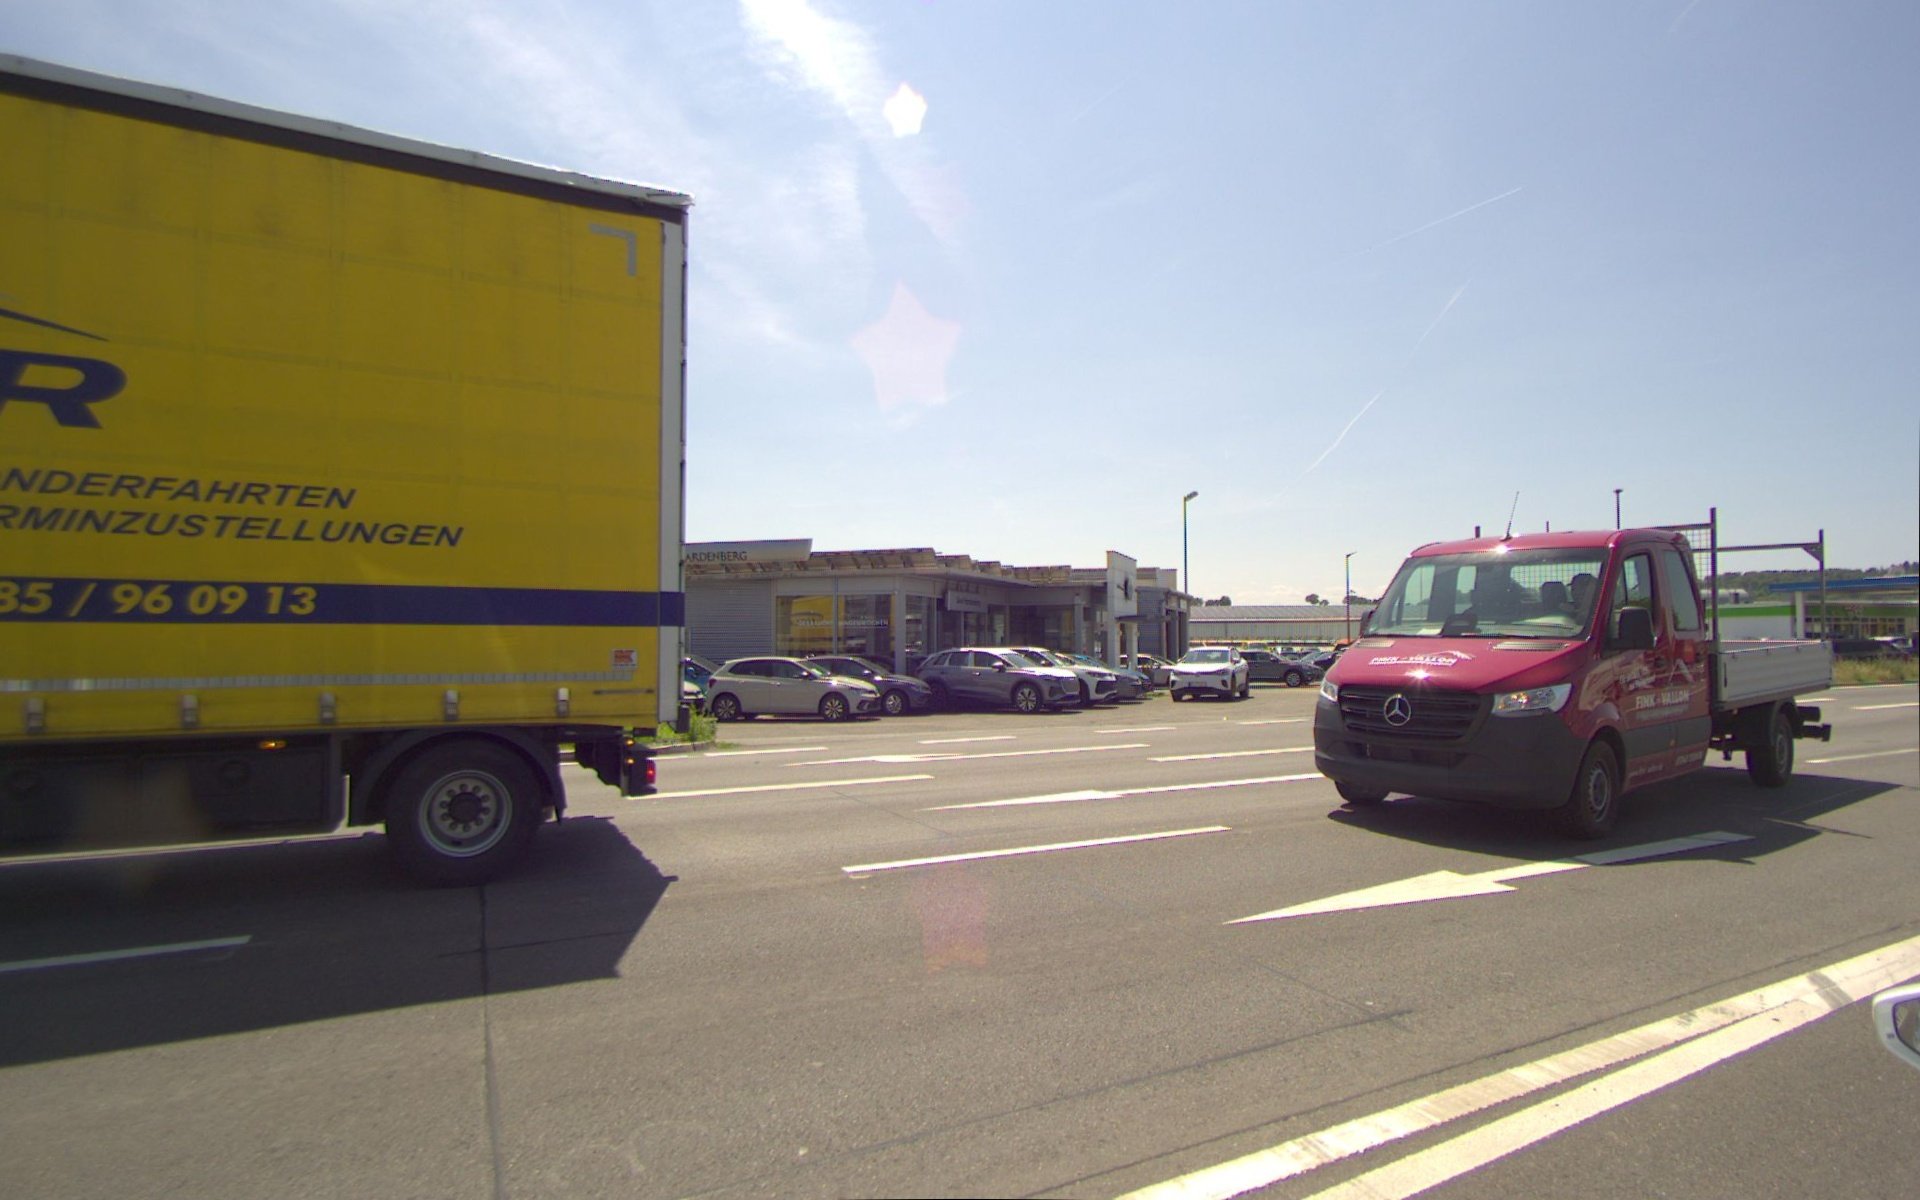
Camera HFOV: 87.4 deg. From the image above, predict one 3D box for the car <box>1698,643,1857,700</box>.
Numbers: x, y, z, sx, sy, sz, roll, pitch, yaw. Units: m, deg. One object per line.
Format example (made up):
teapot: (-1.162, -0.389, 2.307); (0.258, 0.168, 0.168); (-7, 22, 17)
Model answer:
car: (26.808, 2.308, 33.111); (3.800, 1.773, 1.797); (-1, -2, 31)

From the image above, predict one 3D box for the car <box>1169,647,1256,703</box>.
car: (7.941, 2.281, 31.266); (1.789, 1.594, 4.676); (-1, -3, 25)

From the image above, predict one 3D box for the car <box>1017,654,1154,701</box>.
car: (4.078, 2.474, 32.595); (4.091, 1.429, 1.823); (-1, -3, 22)

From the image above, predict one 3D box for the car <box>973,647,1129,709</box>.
car: (2.510, 2.120, 27.846); (3.927, 1.594, 1.821); (-2, -3, 27)

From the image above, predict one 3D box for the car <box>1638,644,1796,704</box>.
car: (23.690, 2.277, 31.639); (3.803, 1.773, 1.796); (-2, -2, 33)

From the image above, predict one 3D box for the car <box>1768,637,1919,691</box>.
car: (29.771, 2.118, 33.751); (3.800, 1.708, 1.797); (-1, -2, 31)

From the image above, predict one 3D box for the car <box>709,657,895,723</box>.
car: (-3.607, 2.055, 23.246); (3.901, 1.434, 1.772); (-1, -3, 9)

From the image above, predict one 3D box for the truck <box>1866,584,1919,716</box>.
truck: (19.977, 0.916, 18.869); (5.599, 2.371, 2.418); (1, -3, -26)

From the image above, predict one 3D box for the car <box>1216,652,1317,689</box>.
car: (12.657, 2.895, 41.593); (3.920, 1.481, 1.901); (-1, -2, 17)

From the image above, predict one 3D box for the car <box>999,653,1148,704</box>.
car: (3.416, 2.323, 30.167); (4.091, 1.429, 1.823); (-1, -3, 22)

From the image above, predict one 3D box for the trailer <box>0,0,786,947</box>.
trailer: (-6.149, -0.606, 5.213); (9.933, 4.343, 2.999); (1, -2, -29)

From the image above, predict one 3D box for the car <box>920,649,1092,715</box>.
car: (1.156, 2.051, 25.868); (4.067, 1.565, 1.820); (-2, -3, 31)

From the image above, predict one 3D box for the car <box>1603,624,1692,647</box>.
car: (41.186, 2.139, 60.234); (1.687, 1.326, 4.128); (2, -3, -44)

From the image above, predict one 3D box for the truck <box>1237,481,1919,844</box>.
truck: (6.036, 0.520, 9.491); (6.784, 2.477, 2.387); (2, -1, -27)
